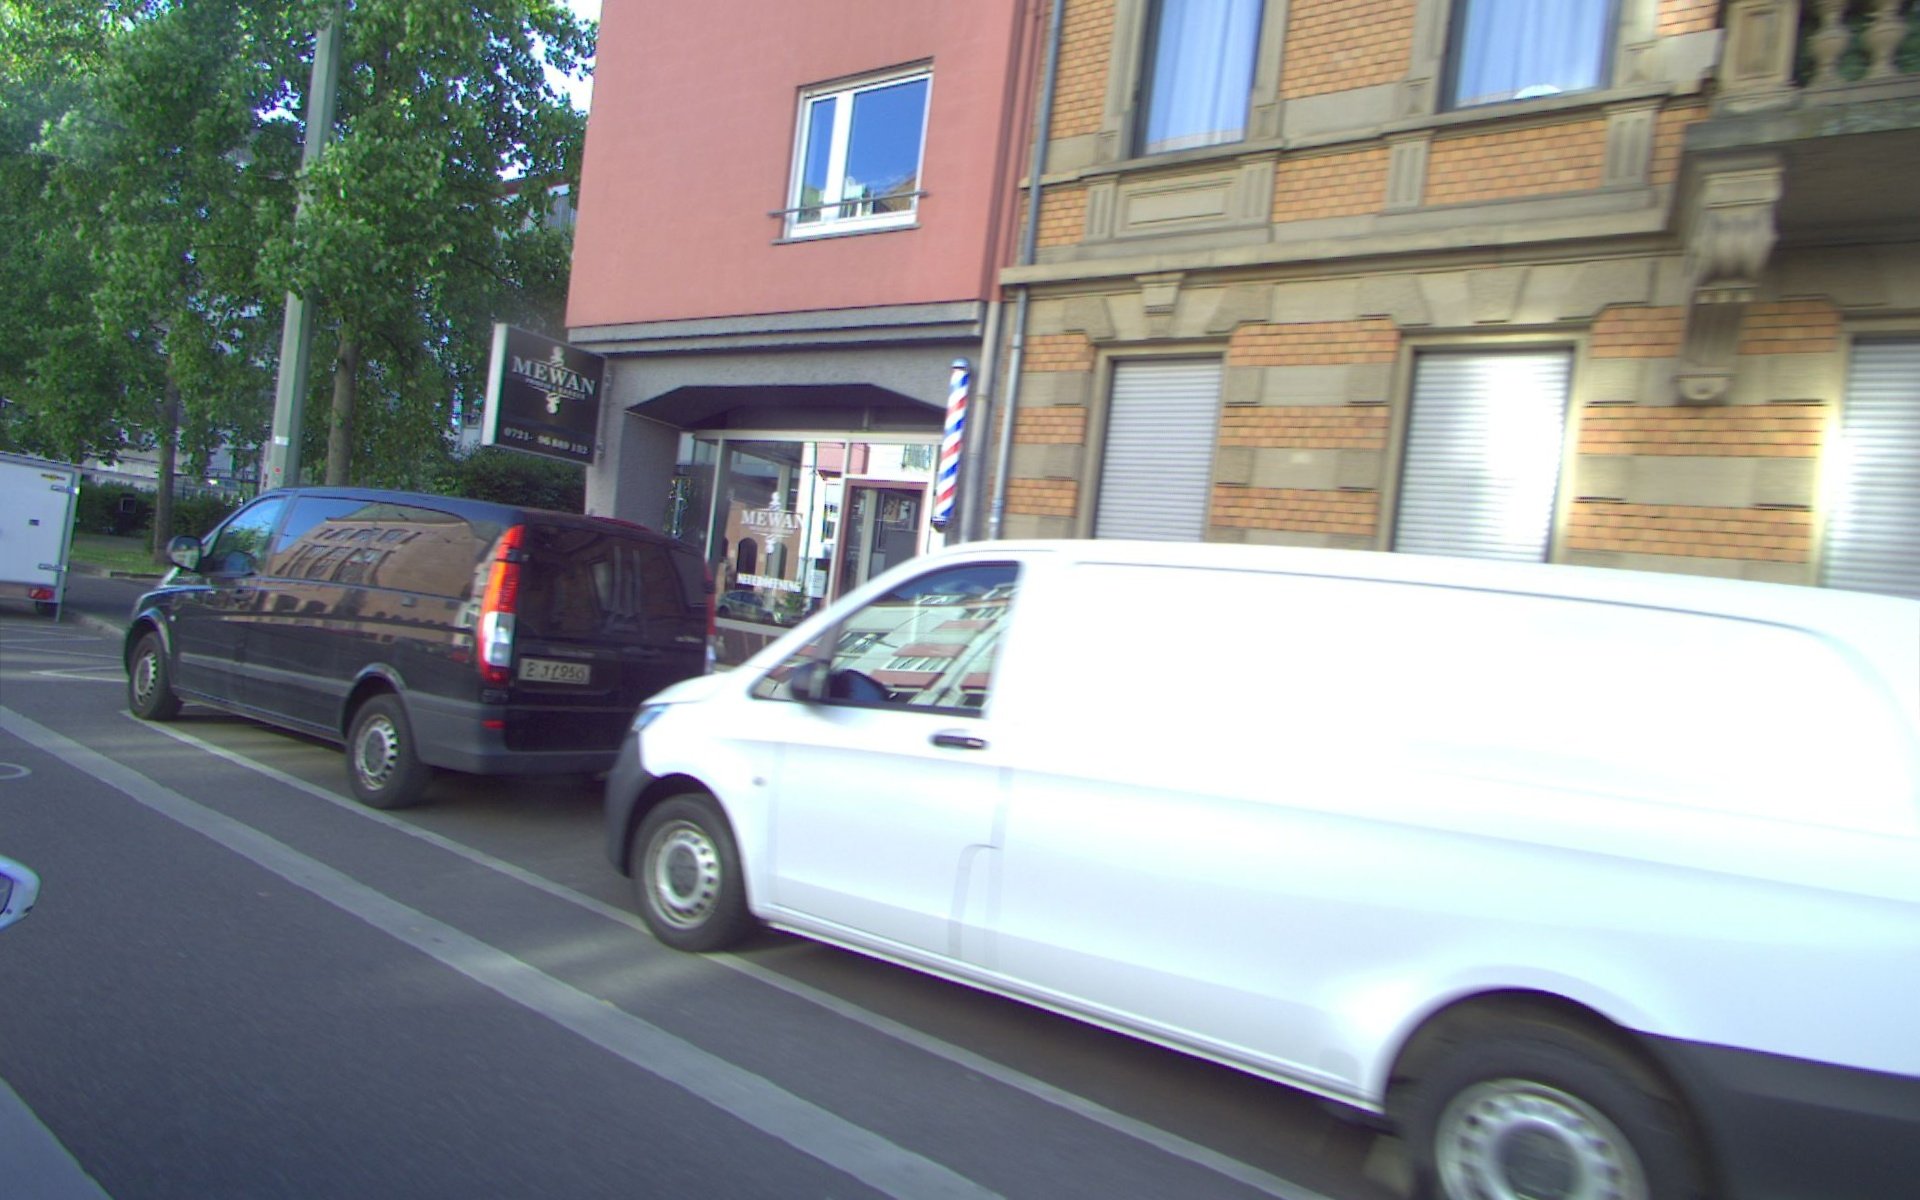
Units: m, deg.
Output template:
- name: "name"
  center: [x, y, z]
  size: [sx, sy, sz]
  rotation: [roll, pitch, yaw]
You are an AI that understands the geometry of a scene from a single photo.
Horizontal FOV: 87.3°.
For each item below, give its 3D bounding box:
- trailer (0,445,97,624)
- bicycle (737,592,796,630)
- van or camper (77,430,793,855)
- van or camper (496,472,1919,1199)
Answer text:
- name: "trailer"
  center: [-13.448, -1.025, 13.532]
  size: [3.781, 2.141, 1.663]
  rotation: [7, -1, 34]
- name: "bicycle"
  center: [-5.013, 0.296, 26.150]
  size: [0.442, 0.887, 1.583]
  rotation: [8, 2, 34]
- name: "van or camper"
  center: [-3.985, 0.084, 7.293]
  size: [5.242, 2.069, 1.975]
  rotation: [7, -1, 31]
- name: "van or camper"
  center: [0.728, 0.774, 4.090]
  size: [5.385, 2.060, 1.934]
  rotation: [7, -1, 32]
